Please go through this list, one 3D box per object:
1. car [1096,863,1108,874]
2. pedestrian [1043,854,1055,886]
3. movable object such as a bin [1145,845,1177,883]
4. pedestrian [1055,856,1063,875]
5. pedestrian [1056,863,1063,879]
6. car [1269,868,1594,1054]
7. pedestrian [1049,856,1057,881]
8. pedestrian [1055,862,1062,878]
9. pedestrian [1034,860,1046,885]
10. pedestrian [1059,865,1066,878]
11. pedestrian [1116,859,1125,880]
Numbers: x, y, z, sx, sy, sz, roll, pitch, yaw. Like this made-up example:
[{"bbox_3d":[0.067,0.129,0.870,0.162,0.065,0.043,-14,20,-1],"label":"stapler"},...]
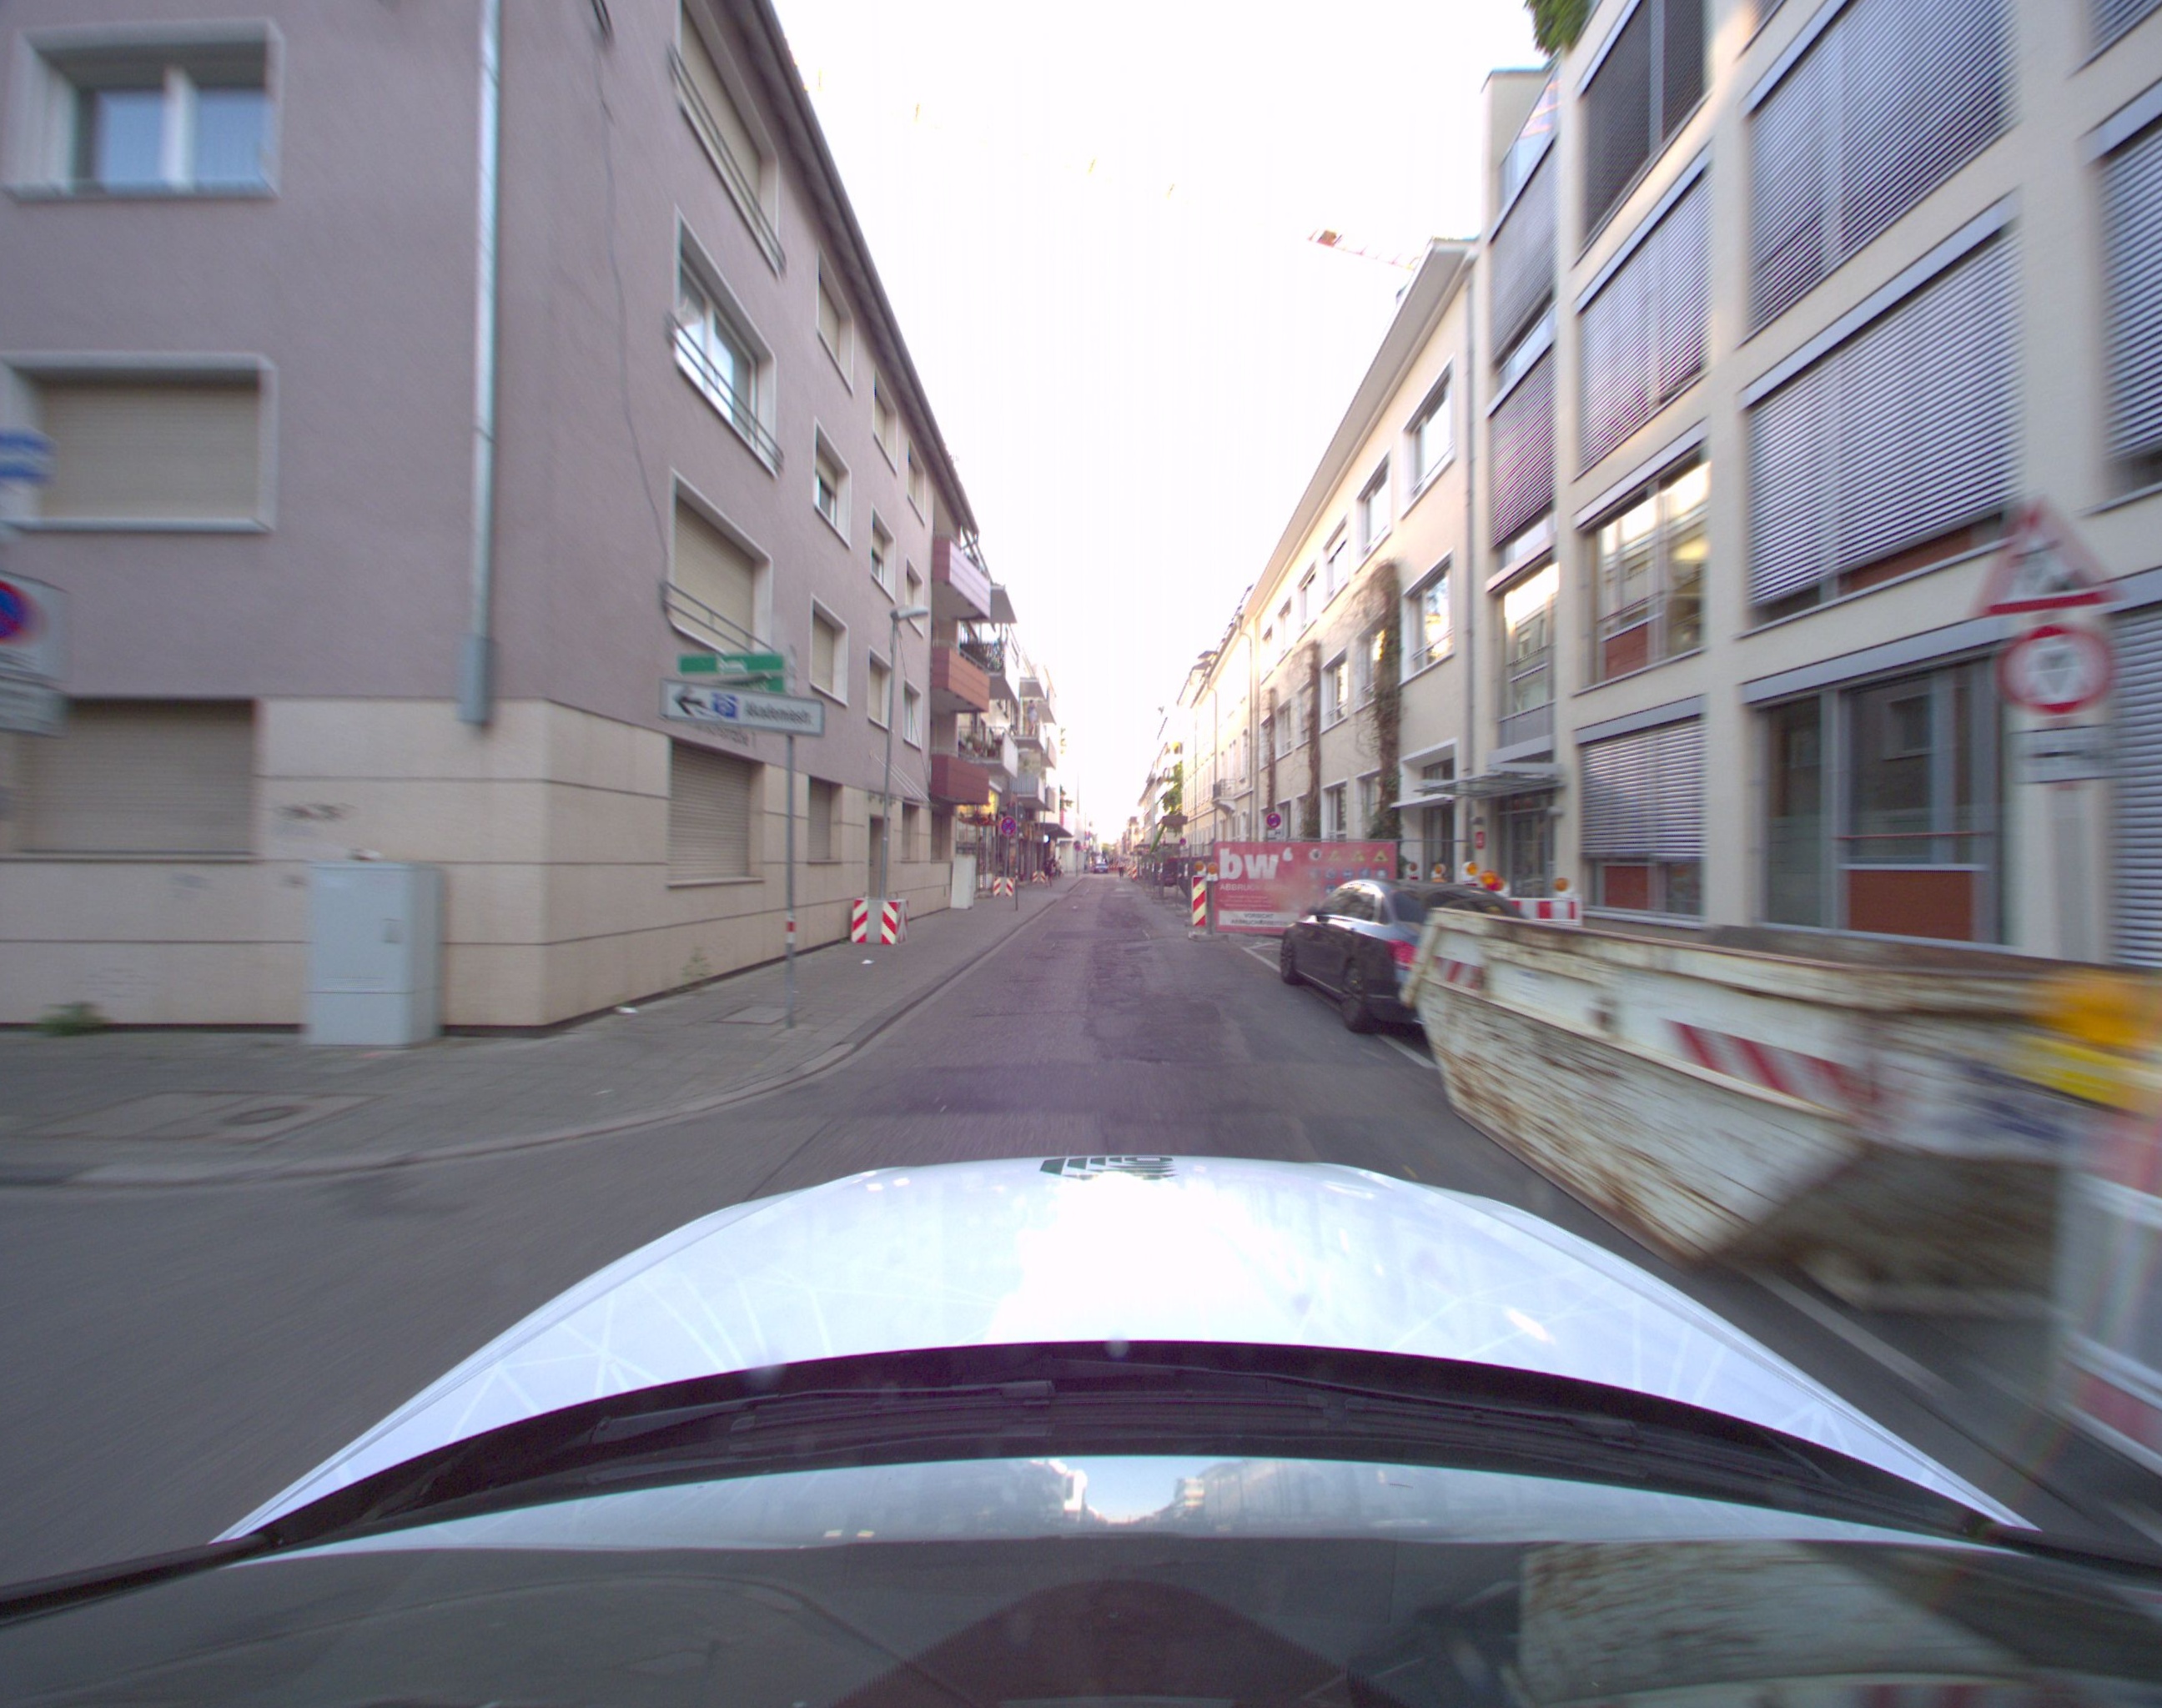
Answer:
[{"bbox_3d":[2.636,1.771,101.623,1.468,1.398,3.333,0,-1,2],"label":"car"},{"bbox_3d":[-1.784,0.891,45.761,0.626,1.808,0.648,0,-1,3],"label":"pedestrian"},{"bbox_3d":[6.866,0.827,70.146,2.461,3.130,4.299,1,0,2],"label":"movable object such as a bin"},{"bbox_3d":[-2.072,1.065,75.811,0.646,1.810,0.628,1,-1,-15],"label":"pedestrian"},{"bbox_3d":[-1.814,1.422,68.187,0.556,1.391,0.893,0,-1,2],"label":"pedestrian"},{"bbox_3d":[3.301,0.888,8.709,1.687,1.406,4.481,1,0,2],"label":"car"},{"bbox_3d":[-2.109,1.086,61.159,0.569,1.886,0.657,0,-1,4],"label":"pedestrian"},{"bbox_3d":[-1.928,1.384,69.403,0.540,1.387,0.625,0,-1,2],"label":"pedestrian"},{"bbox_3d":[-2.603,1.169,51.377,0.646,1.565,0.628,0,-1,-13],"label":"pedestrian"},{"bbox_3d":[-1.665,1.538,72.675,0.616,1.172,0.787,0,-1,1],"label":"pedestrian"},{"bbox_3d":[3.371,1.335,69.803,0.718,1.740,0.647,0,-1,-1],"label":"pedestrian"}]
